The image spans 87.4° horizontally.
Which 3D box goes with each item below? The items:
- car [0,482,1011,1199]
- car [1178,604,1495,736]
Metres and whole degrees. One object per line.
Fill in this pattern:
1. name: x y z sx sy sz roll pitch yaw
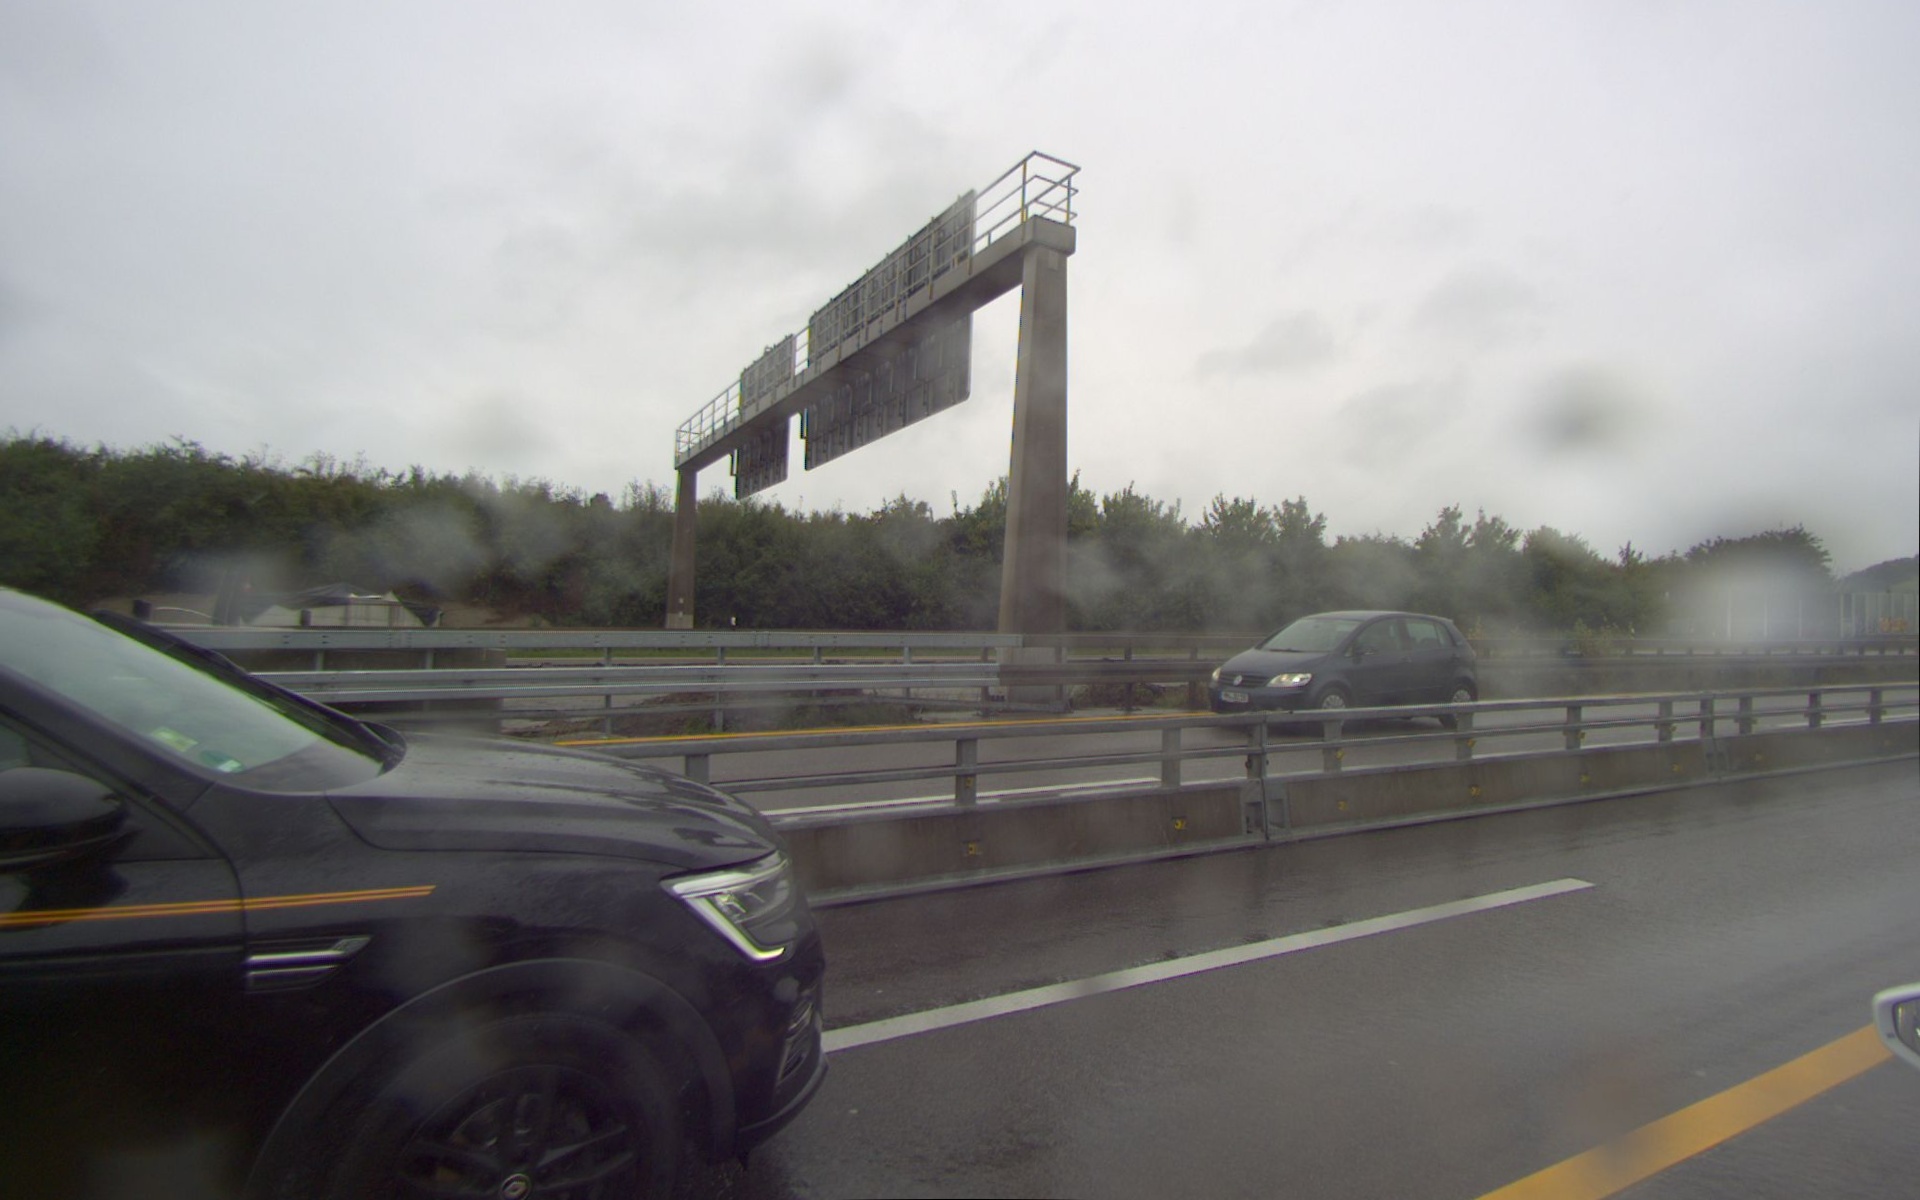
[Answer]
1. car: -2.272 0.614 2.053 4.361 1.606 1.984 2 0 -30
2. car: 5.129 0.873 13.586 4.081 1.522 1.838 2 0 -30
